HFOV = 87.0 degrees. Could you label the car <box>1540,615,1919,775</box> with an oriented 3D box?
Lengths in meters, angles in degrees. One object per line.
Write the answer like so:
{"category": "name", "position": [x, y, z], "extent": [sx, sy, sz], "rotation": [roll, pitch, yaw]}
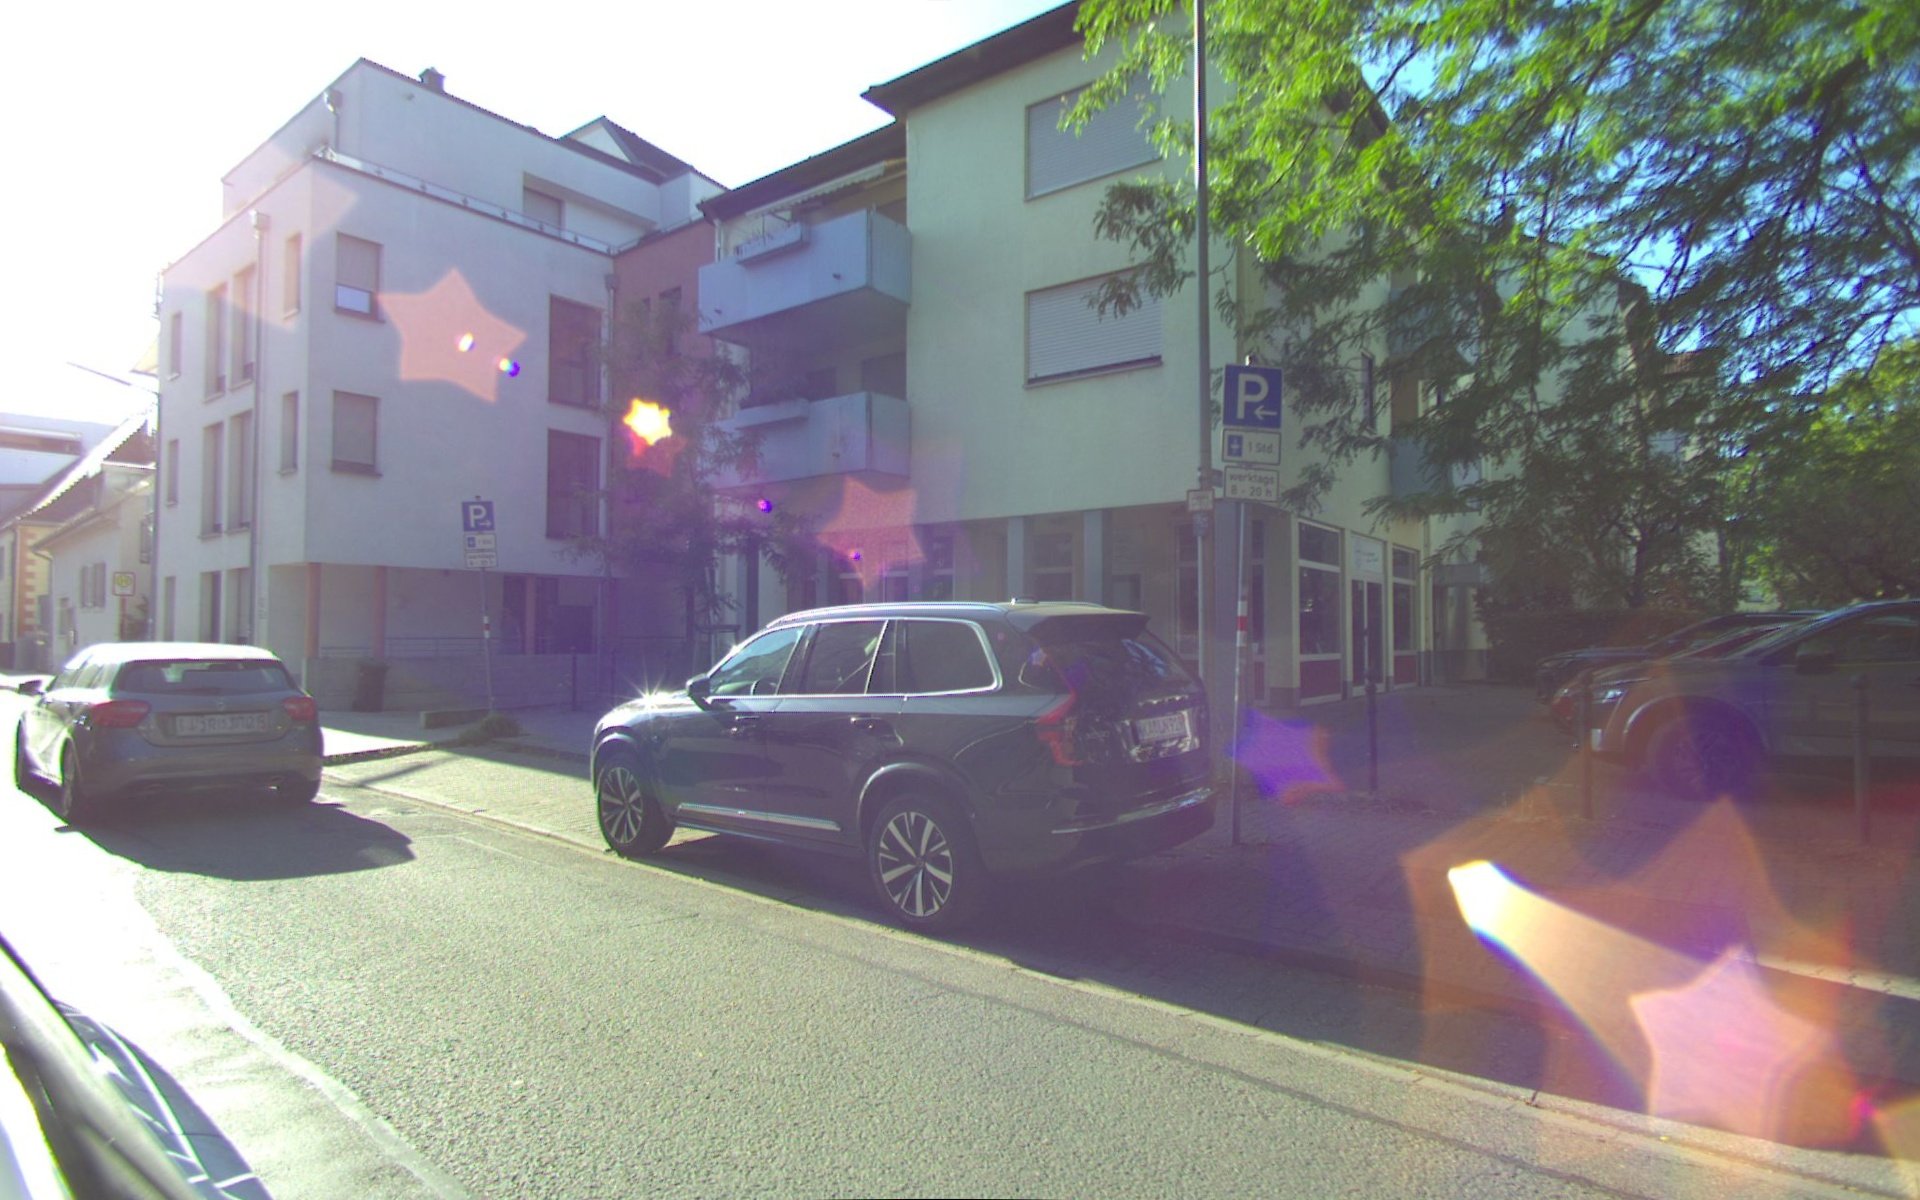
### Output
{"category": "car", "position": [8.555, 0.918, 10.353], "extent": [4.422, 1.452, 1.562], "rotation": [-2, -3, 35]}

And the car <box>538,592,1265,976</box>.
{"category": "car", "position": [-0.752, 0.888, 6.954], "extent": [5.098, 1.718, 1.911], "rotation": [-2, -1, 41]}

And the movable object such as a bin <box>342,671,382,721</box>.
{"category": "movable object such as a bin", "position": [-10.918, 1.740, 18.481], "extent": [0.433, 0.882, 0.485], "rotation": [-2, -4, 38]}

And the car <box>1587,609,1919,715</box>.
{"category": "car", "position": [13.629, 1.033, 16.844], "extent": [5.184, 1.572, 1.918], "rotation": [-2, -5, 41]}

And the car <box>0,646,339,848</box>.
{"category": "car", "position": [-7.610, 1.184, 9.484], "extent": [3.995, 1.478, 1.789], "rotation": [-2, -4, 39]}

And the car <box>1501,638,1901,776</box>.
{"category": "car", "position": [9.080, 1.219, 12.604], "extent": [3.813, 1.451, 1.667], "rotation": [-2, -4, 43]}

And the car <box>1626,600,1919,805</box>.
{"category": "car", "position": [7.245, 0.738, 7.504], "extent": [3.639, 1.419, 1.504], "rotation": [-2, -4, 43]}
